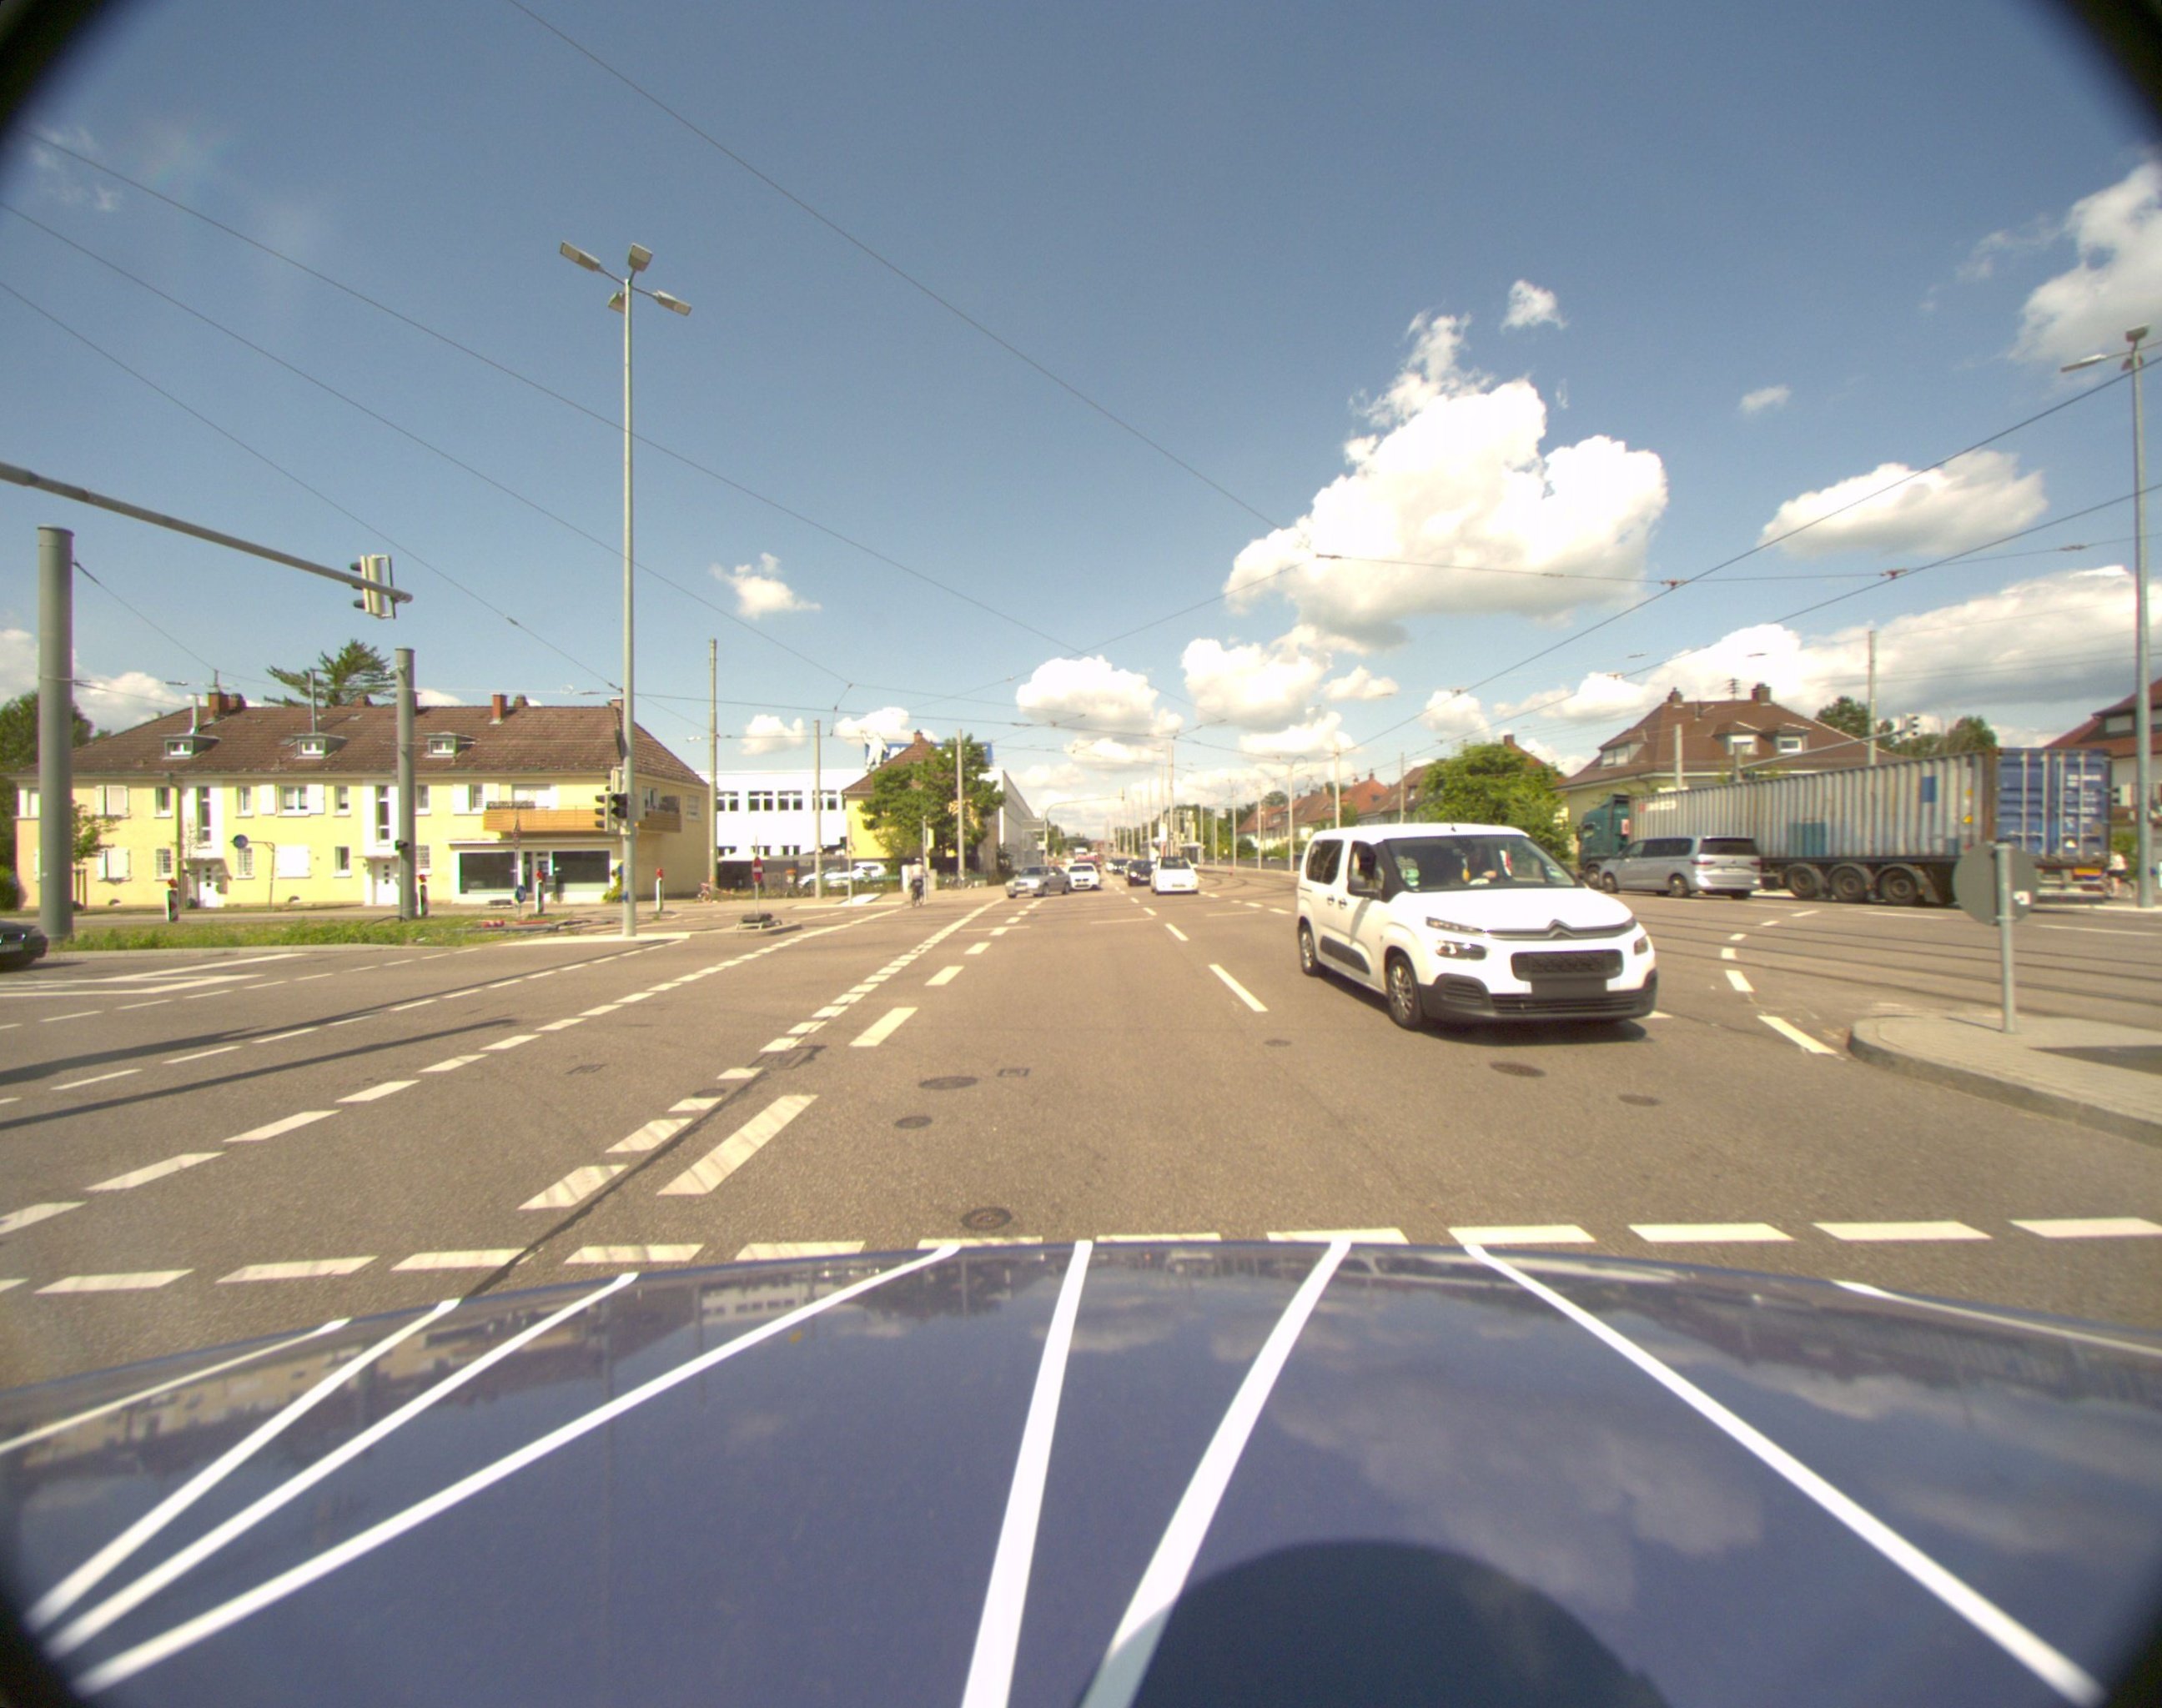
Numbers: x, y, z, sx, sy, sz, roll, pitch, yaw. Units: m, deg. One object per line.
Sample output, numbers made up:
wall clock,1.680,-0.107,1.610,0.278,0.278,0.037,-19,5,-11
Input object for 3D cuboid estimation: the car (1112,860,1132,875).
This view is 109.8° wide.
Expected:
car,4.101,1.361,77.148,1.698,1.350,4.498,-2,1,-1

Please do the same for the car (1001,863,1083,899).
car,-1.653,1.159,33.987,1.722,1.389,4.470,-2,0,26

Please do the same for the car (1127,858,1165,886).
car,3.670,0.987,43.533,1.680,1.414,3.557,-2,1,-2

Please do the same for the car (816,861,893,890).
car,-13.518,1.252,45.589,4.118,1.587,1.800,-1,0,-5

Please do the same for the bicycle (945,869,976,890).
bicycle,-6.582,1.384,41.683,0.462,1.013,1.759,-2,1,41

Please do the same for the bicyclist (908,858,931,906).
bicyclist,-6.028,1.028,28.330,0.652,1.727,0.983,-3,1,-6

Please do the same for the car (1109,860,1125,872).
car,4.269,1.413,90.767,1.698,1.350,4.498,-2,1,-1

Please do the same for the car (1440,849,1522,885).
car,19.163,0.582,36.618,1.798,1.627,4.471,0,1,3

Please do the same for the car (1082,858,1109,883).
car,0.943,1.097,51.953,1.664,1.529,3.999,-2,1,-1

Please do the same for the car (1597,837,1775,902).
car,18.527,0.419,23.617,1.799,1.804,4.712,0,1,1

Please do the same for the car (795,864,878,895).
car,-13.723,1.394,42.855,4.118,1.587,1.800,-1,0,-5

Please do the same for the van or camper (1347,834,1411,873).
van or camper,23.533,-0.141,60.464,2.329,2.913,7.753,0,2,2

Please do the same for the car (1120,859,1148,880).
car,4.008,1.144,57.626,1.698,1.350,4.498,-2,1,-1

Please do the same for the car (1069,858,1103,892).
car,0.224,1.051,39.941,1.664,1.564,3.999,-2,1,-1

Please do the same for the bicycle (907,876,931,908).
bicycle,-6.016,1.400,28.346,0.652,1.111,1.587,-3,1,-6

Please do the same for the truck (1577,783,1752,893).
truck,22.297,-0.518,29.450,2.605,3.798,5.669,1,0,4

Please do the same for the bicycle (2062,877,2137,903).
bicycle,36.812,1.289,27.474,1.808,0.830,0.602,-2,1,3

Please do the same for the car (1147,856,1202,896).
car,3.819,0.886,31.587,1.680,1.495,3.393,-2,0,-2

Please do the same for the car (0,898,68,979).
car,-20.400,1.456,12.737,4.327,1.321,1.739,0,1,-2

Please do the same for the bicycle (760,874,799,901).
bicycle,-14.004,1.540,35.304,1.576,1.131,0.380,-3,1,-27

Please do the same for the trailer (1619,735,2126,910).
trailer,21.969,-0.615,23.165,2.605,3.798,12.841,1,-1,3

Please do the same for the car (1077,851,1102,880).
car,0.660,0.861,60.381,1.787,2.134,5.168,-2,1,-1

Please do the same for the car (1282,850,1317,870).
car,19.560,0.538,68.162,1.998,1.766,4.879,1,0,3

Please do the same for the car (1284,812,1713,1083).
car,3.464,0.630,7.416,1.799,1.804,4.329,-2,1,1

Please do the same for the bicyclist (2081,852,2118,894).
bicyclist,36.810,0.667,27.461,0.501,1.489,0.602,-2,1,3
